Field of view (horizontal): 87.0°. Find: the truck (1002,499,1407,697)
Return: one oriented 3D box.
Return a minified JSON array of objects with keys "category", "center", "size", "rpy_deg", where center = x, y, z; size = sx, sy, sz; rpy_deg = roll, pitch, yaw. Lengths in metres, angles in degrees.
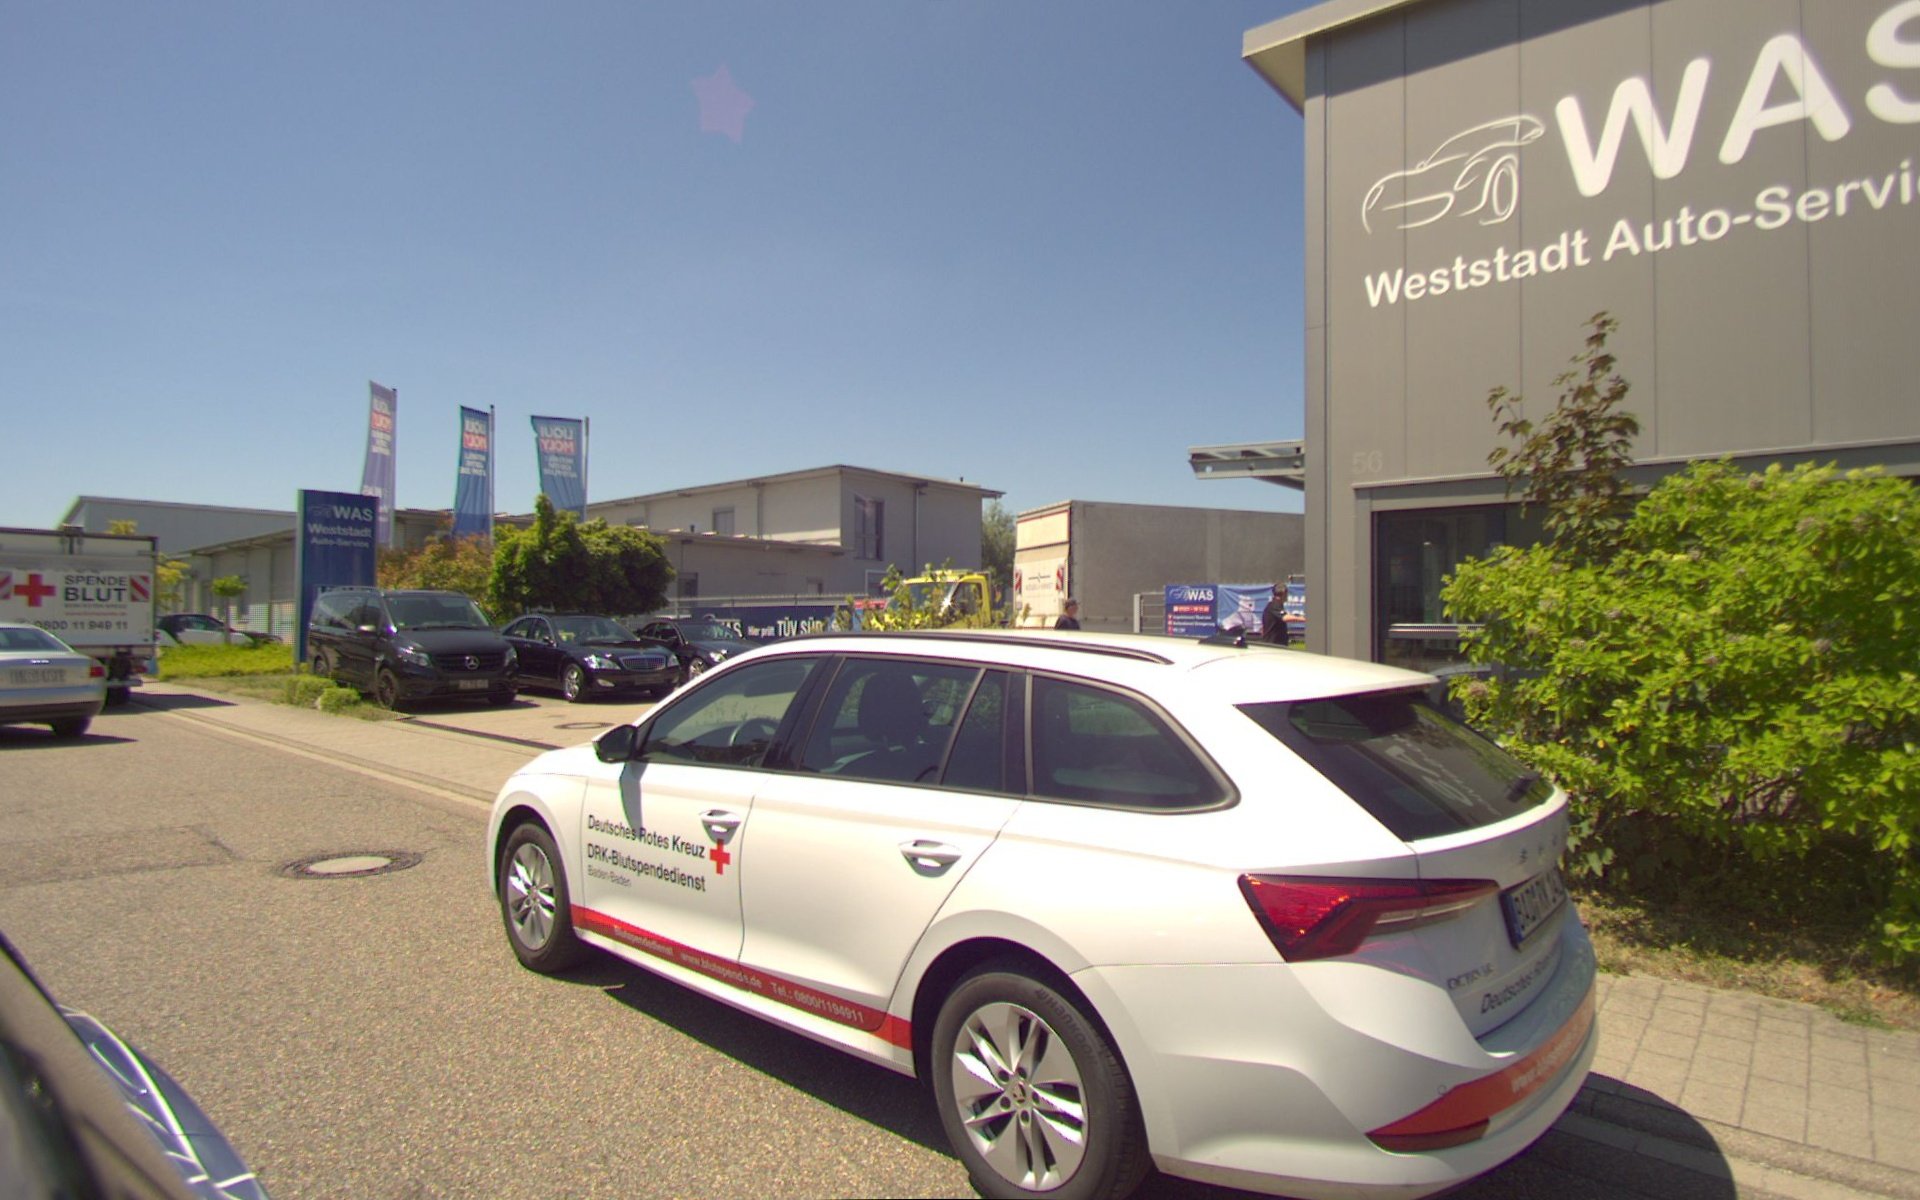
[{"category":"truck","center":[5.059,-0.048,20.896],"size":[7.924,3.584,2.595],"rpy_deg":[0,-1,-19]}]

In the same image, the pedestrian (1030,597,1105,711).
[{"category":"pedestrian","center":[1.711,0.829,16.043],"size":[0.927,1.739,1.006],"rpy_deg":[0,-1,24]}]

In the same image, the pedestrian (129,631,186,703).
[{"category":"pedestrian","center":[-18.544,1.525,23.387],"size":[0.785,1.586,0.889],"rpy_deg":[-2,-1,42]}]

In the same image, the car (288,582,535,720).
[{"category":"car","center":[-9.331,0.780,17.001],"size":[5.216,1.971,1.972],"rpy_deg":[-1,-2,41]}]

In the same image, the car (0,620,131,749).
[{"category":"car","center":[-12.534,0.934,12.316],"size":[4.381,1.433,1.777],"rpy_deg":[1,-3,21]}]

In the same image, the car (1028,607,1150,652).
[{"category":"car","center":[4.604,0.988,35.654],"size":[1.937,1.427,4.703],"rpy_deg":[-1,0,42]}]

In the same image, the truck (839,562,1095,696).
[{"category":"truck","center":[0.331,0.571,21.638],"size":[2.164,2.480,5.893],"rpy_deg":[-2,-1,41]}]

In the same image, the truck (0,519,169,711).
[{"category":"truck","center":[-16.332,0.315,18.020],"size":[6.413,2.882,2.336],"rpy_deg":[-1,-4,42]}]

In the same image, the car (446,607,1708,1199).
[{"category":"car","center":[-0.090,0.787,3.761],"size":[4.490,1.469,1.711],"rpy_deg":[-1,-2,41]}]

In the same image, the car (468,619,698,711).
[{"category":"car","center":[-6.956,1.082,18.392],"size":[4.767,1.427,1.911],"rpy_deg":[-1,-1,41]}]

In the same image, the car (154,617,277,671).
[{"category":"car","center":[-22.438,1.306,30.559],"size":[1.534,1.529,2.713],"rpy_deg":[-1,-2,40]}]

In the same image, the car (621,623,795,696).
[{"category":"car","center":[-5.180,1.155,20.569],"size":[3.761,1.347,1.572],"rpy_deg":[-1,-2,41]}]

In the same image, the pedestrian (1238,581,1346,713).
[{"category":"pedestrian","center":[4.364,0.631,13.341],"size":[1.083,1.658,0.717],"rpy_deg":[-5,-5,41]}]
